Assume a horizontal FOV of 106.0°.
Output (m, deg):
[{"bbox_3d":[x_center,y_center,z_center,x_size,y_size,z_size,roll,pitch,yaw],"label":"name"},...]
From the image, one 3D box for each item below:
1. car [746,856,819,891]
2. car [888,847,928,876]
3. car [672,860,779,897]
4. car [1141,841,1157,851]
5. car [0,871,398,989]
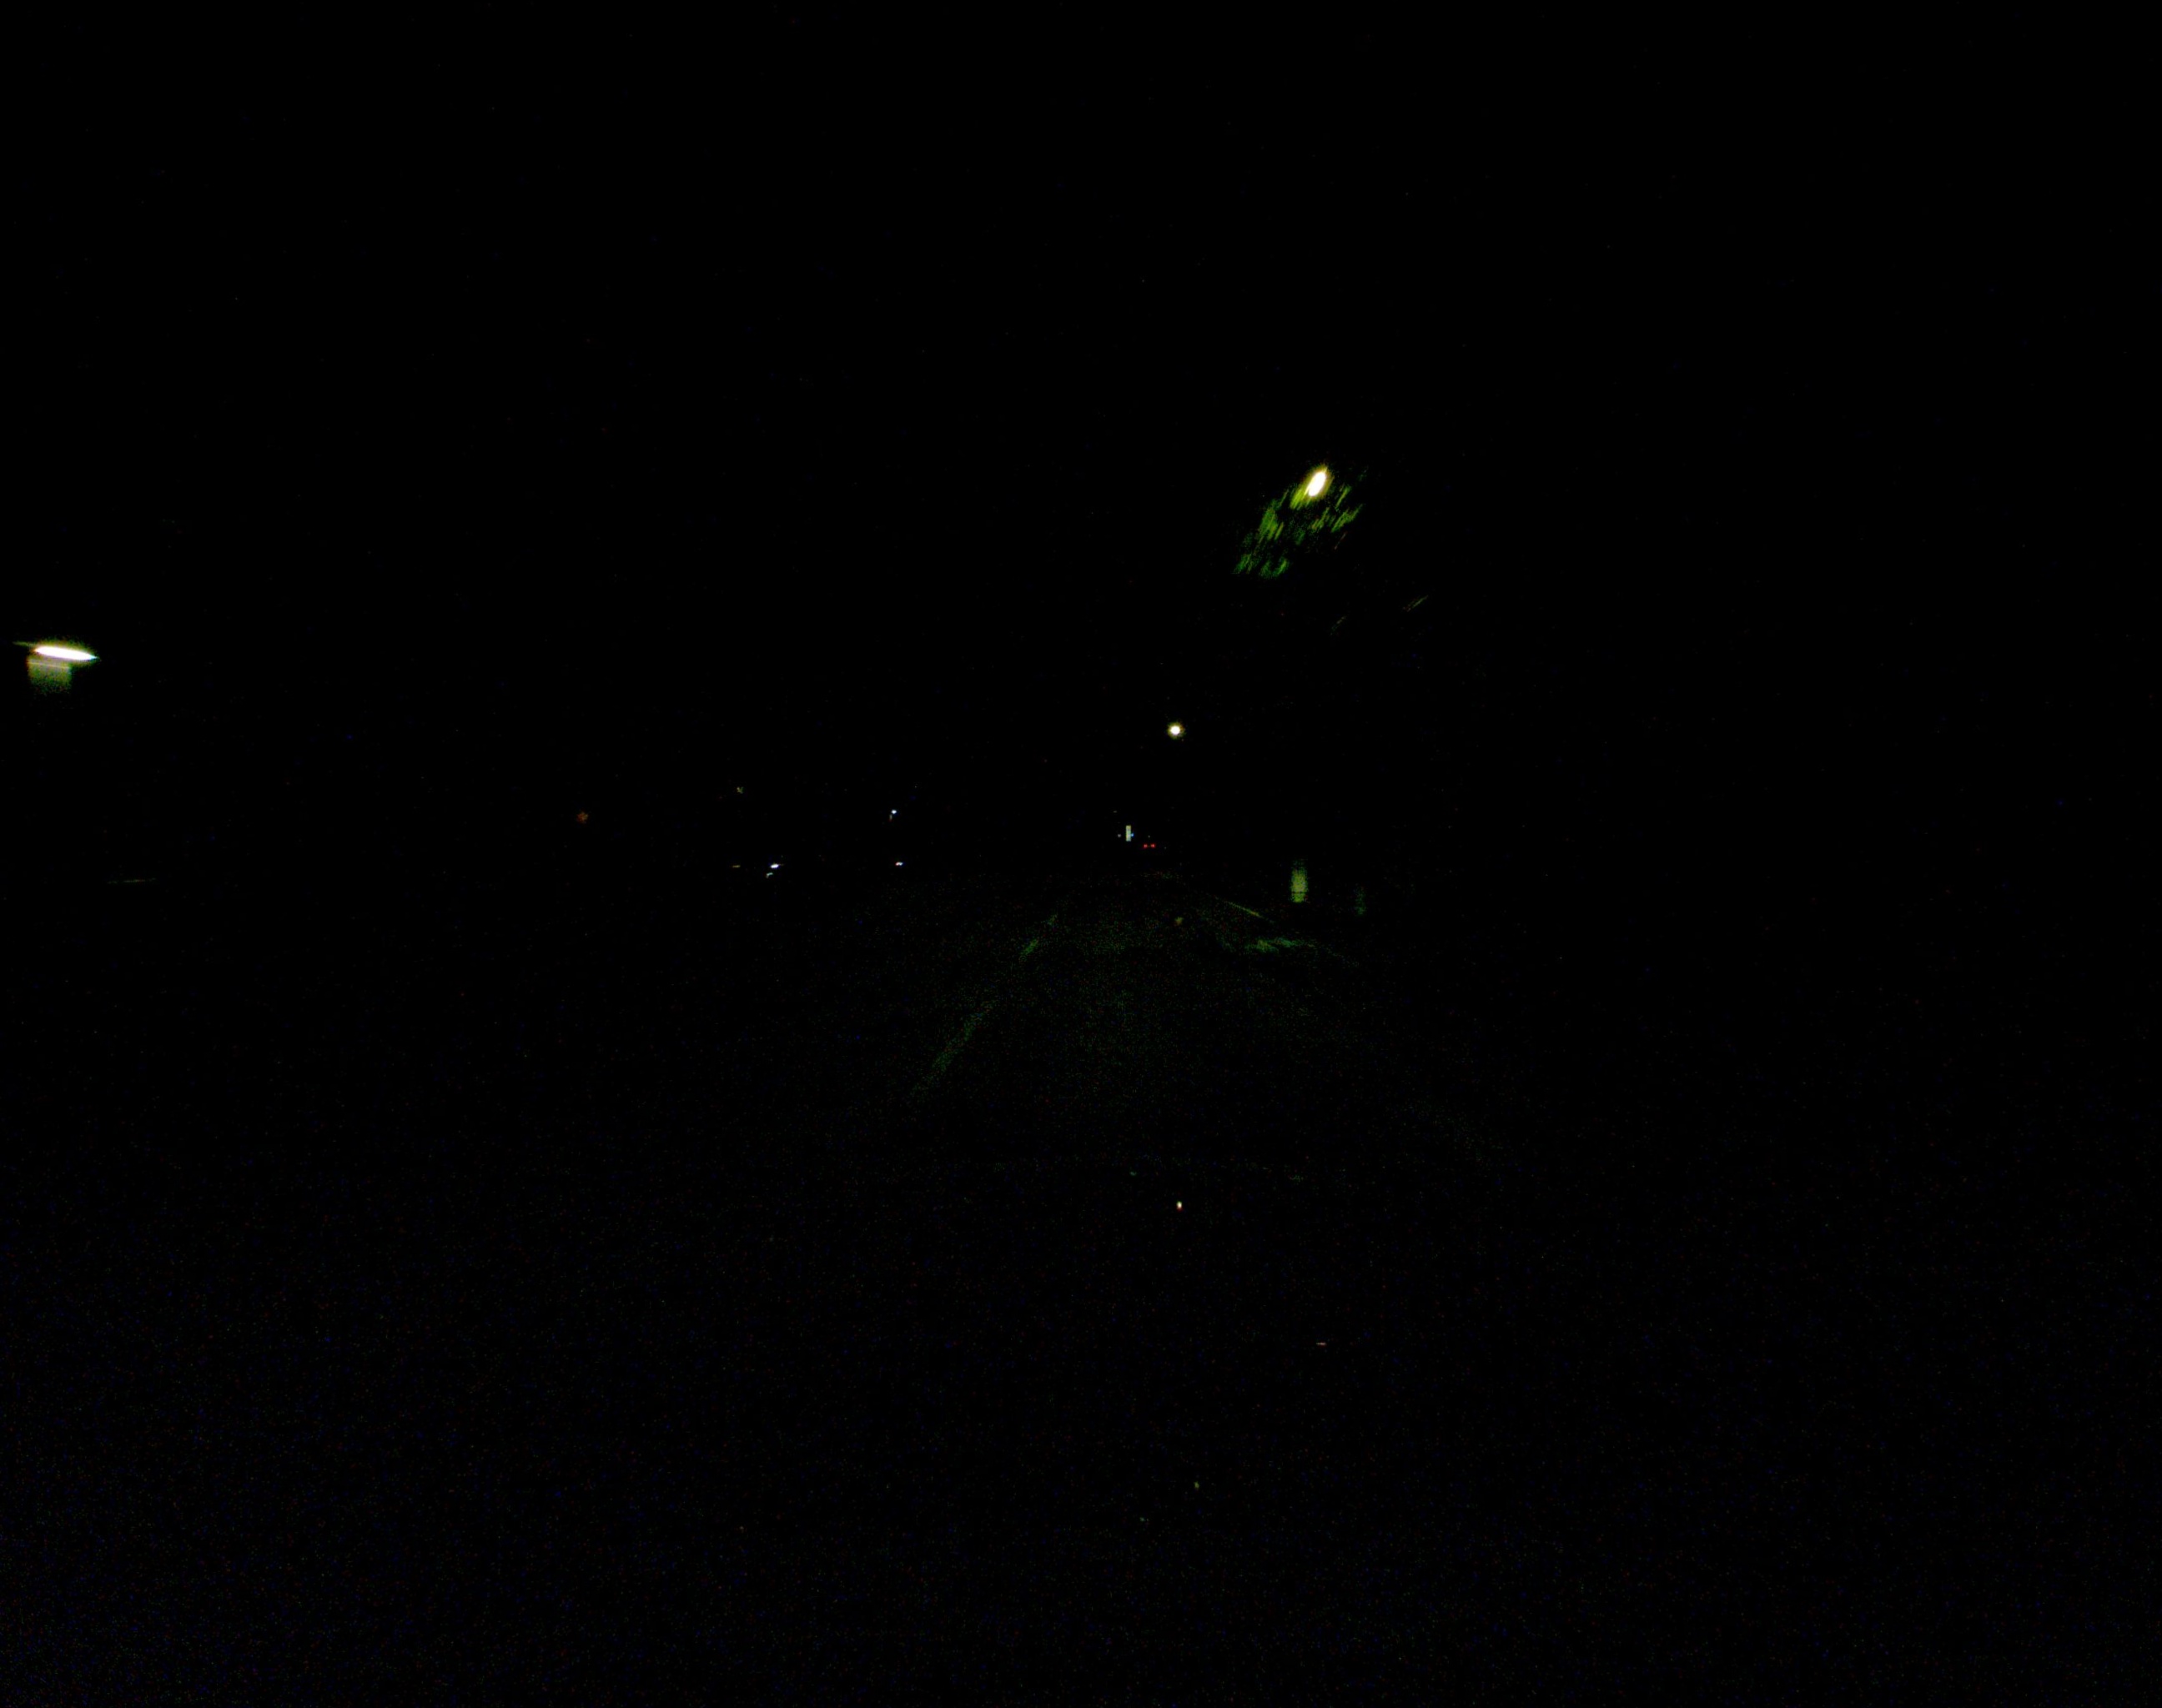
[{"bbox_3d":[-14.636,0.896,40.159,1.987,1.530,4.000,-2,0,1],"label":"car"},{"bbox_3d":[-13.745,0.596,64.927,2.085,2.013,4.000,-6,0,1],"label":"car"},{"bbox_3d":[-14.642,0.959,33.988,1.987,1.338,5.432,-2,0,1],"label":"car"},{"bbox_3d":[11.679,-1.382,139.798,2.148,1.582,4.026,-4,0,11],"label":"car"},{"bbox_3d":[-15.387,1.205,14.663,1.985,1.628,4.682,-2,0,4],"label":"car"}]
